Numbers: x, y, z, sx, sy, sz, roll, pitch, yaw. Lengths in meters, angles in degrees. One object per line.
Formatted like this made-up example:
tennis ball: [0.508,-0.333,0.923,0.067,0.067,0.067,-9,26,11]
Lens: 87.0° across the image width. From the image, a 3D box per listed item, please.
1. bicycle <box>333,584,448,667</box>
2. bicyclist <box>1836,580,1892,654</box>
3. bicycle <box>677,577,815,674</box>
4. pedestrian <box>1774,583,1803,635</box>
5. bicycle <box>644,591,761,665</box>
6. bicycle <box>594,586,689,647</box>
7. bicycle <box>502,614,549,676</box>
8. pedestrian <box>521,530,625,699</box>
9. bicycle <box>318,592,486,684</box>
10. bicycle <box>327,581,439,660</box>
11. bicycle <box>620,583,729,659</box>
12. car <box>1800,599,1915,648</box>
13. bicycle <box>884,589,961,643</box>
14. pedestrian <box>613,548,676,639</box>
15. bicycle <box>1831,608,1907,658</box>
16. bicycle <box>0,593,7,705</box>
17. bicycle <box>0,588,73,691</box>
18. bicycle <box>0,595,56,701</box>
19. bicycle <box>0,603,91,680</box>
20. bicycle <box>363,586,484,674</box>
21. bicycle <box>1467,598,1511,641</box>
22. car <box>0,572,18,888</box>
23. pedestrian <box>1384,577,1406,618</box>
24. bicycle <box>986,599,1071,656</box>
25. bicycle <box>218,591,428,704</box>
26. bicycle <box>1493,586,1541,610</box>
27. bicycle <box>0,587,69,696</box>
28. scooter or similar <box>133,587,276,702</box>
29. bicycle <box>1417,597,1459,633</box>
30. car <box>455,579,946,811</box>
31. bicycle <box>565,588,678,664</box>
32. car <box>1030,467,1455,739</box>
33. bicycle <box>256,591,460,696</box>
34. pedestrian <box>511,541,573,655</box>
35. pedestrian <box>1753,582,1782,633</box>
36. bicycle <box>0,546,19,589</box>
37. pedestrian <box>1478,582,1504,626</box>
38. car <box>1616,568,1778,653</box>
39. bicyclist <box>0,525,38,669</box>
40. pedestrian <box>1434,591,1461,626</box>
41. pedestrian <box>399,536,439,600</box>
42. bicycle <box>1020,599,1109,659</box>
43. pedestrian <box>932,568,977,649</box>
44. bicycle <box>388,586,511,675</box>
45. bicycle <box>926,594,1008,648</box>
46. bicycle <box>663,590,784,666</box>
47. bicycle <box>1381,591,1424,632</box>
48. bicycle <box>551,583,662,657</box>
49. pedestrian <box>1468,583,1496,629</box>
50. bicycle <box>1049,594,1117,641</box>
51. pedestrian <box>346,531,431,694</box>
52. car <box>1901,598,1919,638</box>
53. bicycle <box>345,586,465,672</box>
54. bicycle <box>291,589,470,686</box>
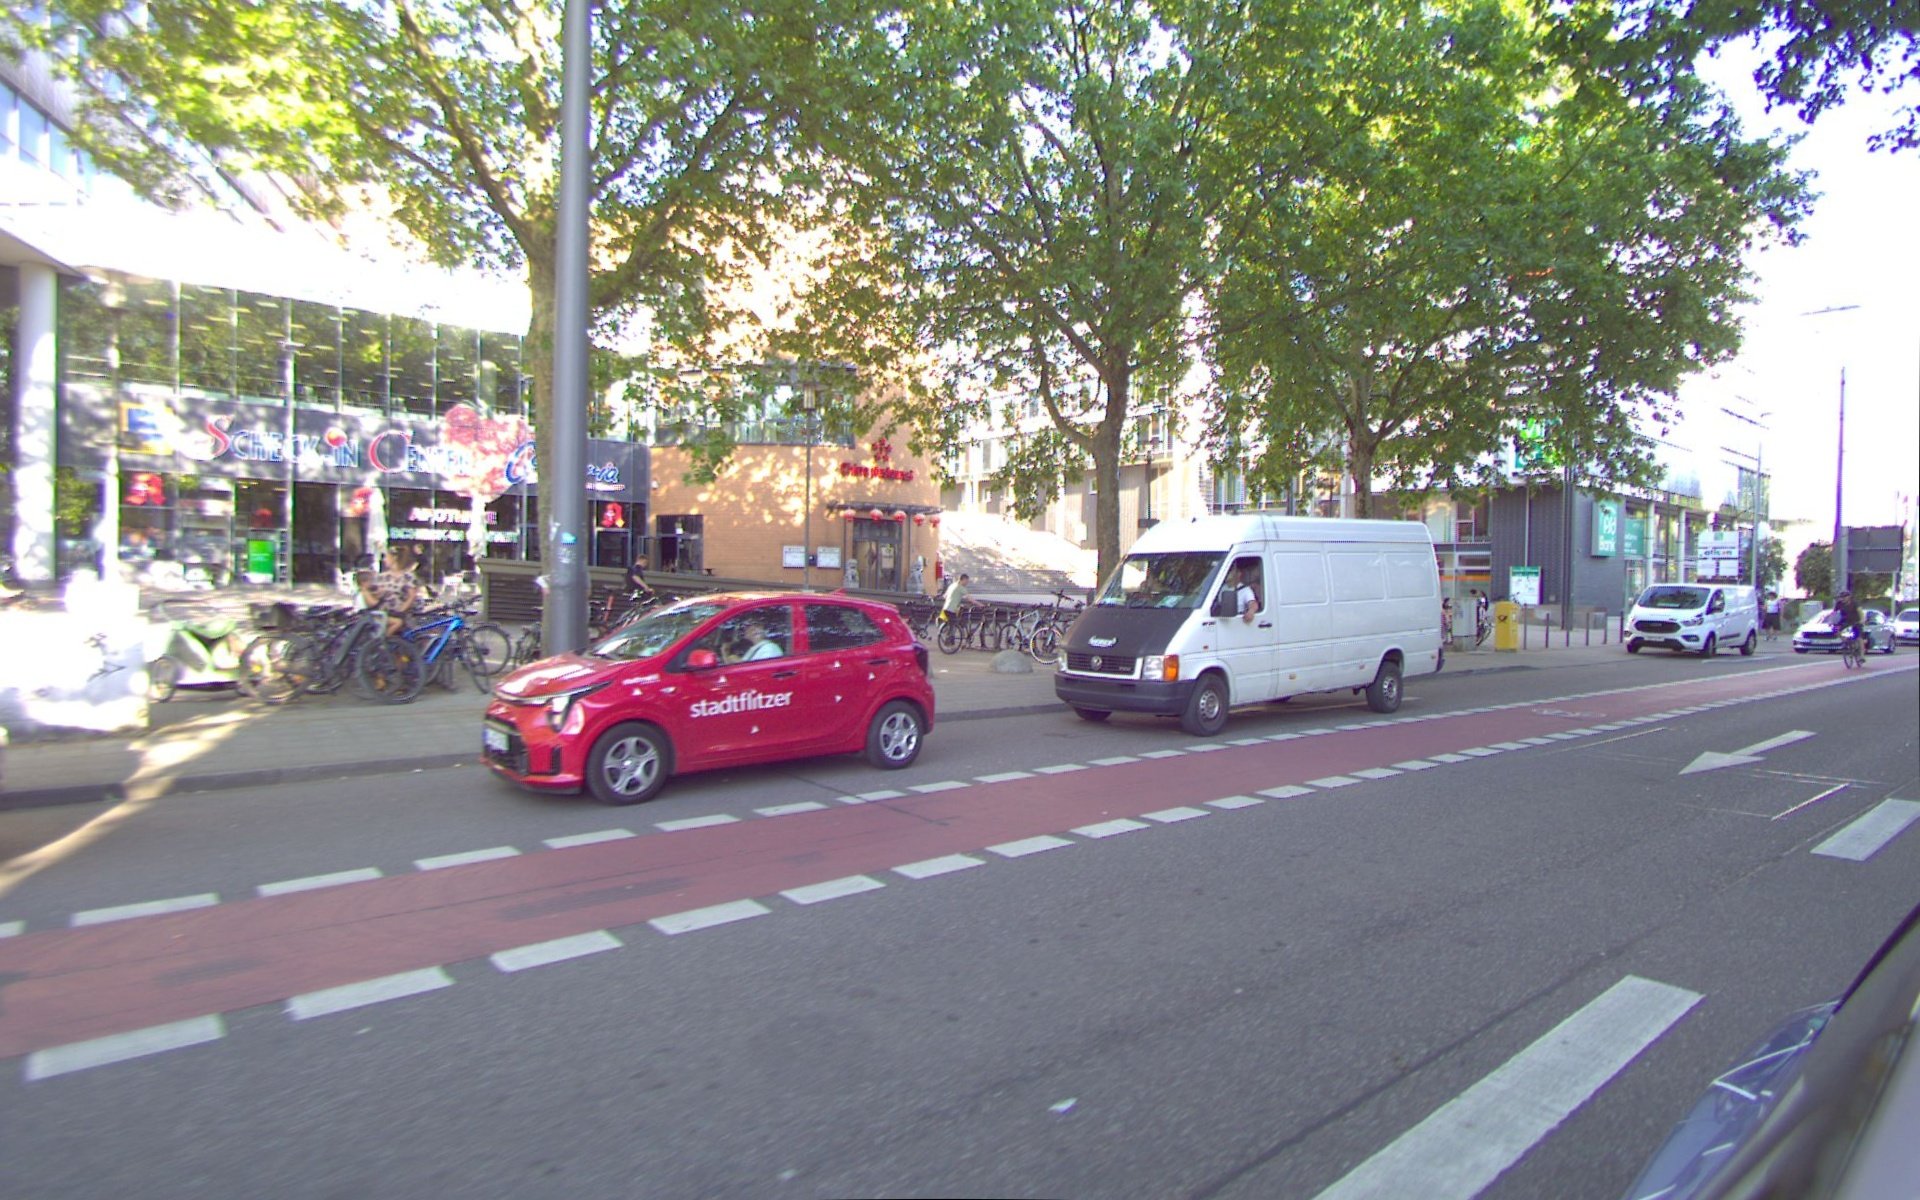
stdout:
bicycle: [-8.528,0.359,15.199,0.420,1.174,1.455,2,1,40]
bicyclist: [21.514,0.397,24.098,0.700,1.709,0.754,1,1,-27]
bicycle: [-2.995,0.330,14.287,1.844,1.280,0.596,0,1,-41]
pedestrian: [30.134,0.323,36.809,0.875,1.831,0.565,0,2,-38]
bicycle: [-3.877,0.397,15.301,1.626,1.044,0.596,0,1,-41]
bicycle: [-6.430,0.318,20.472,1.736,1.174,0.579,0,1,-35]
bicycle: [-5.942,0.598,13.866,0.391,0.770,1.114,1,1,-13]
pedestrian: [-4.378,0.141,11.433,0.872,1.808,0.796,2,1,44]
bicycle: [-7.134,0.478,13.019,1.788,1.130,0.610,1,1,-13]
bicycle: [-8.925,0.294,15.701,0.420,1.174,1.455,2,1,40]
bicycle: [-4.593,0.317,16.342,1.626,1.151,0.503,0,1,-41]
car: [28.864,0.722,32.529,3.943,1.437,1.788,0,2,-33]
bicycle: [-0.824,0.348,22.430,1.622,1.140,0.598,0,1,-33]
pedestrian: [-6.391,-0.141,20.502,1.000,1.779,0.789,0,1,-35]
bicycle: [21.474,0.769,23.887,2.083,1.135,0.552,1,1,-26]
bicycle: [-9.859,0.476,9.278,1.542,1.070,0.630,0,1,-35]
bicycle: [-11.198,0.451,11.667,1.450,1.174,0.421,0,1,-40]
bicycle: [-10.314,0.498,10.450,1.451,1.095,0.421,0,1,-43]
bicycle: [-12.447,0.515,12.806,2.138,0.945,0.669,1,1,-13]
bicycle: [-7.541,0.398,14.279,0.420,1.174,1.455,2,1,40]
bicycle: [14.912,0.545,28.510,1.512,1.173,0.514,0,1,-39]
car: [-6.661,0.612,4.082,4.145,1.482,1.767,0,2,-42]
pedestrian: [18.336,-0.111,42.698,0.709,1.697,0.540,0,1,-38]
bicycle: [1.356,0.517,19.887,1.622,1.060,0.598,0,1,-33]
bicycle: [-6.738,0.492,10.785,1.788,1.130,0.599,1,1,-13]
bicycle: [26.714,-0.105,48.556,0.687,1.076,1.879,0,2,-39]
bicycle: [-10.726,0.451,11.083,1.451,1.174,0.421,0,1,-43]
scooter or similar: [-8.280,0.472,11.096,1.249,1.156,0.905,-2,0,36]
bicycle: [14.016,0.426,29.640,1.598,1.042,0.460,0,1,-39]
car: [-1.967,0.588,8.219,3.558,1.482,1.561,0,1,-41]
bicycle: [-5.467,0.405,16.391,1.662,1.174,0.479,0,1,-37]
car: [3.930,0.022,13.114,6.444,2.759,1.998,0,0,-40]
bicycle: [-6.836,0.486,11.581,1.908,1.130,0.599,1,1,-13]
pedestrian: [-6.792,-0.046,16.442,0.756,1.779,0.820,0,1,-35]
pedestrian: [29.747,0.263,37.291,0.879,1.831,0.591,0,2,-38]
bicycle: [-26.170,-0.890,27.386,0.705,1.142,1.921,0,1,-33]
pedestrian: [18.676,0.136,35.582,0.623,1.541,0.517,1,1,-31]
car: [20.774,0.239,28.450,5.189,2.160,2.130,0,2,-36]
bicyclist: [-12.412,-0.052,12.800,0.834,1.789,0.754,1,1,-13]
pedestrian: [17.559,0.311,36.466,0.664,1.236,0.616,1,1,-34]
pedestrian: [-16.099,-0.941,30.126,0.834,1.867,1.002,1,1,-15]
bicycle: [1.957,0.529,18.900,1.622,1.060,0.598,0,1,-33]
pedestrian: [-0.127,0.167,21.301,0.623,1.651,0.719,1,1,-35]
bicycle: [-7.059,0.394,14.040,0.477,1.174,1.455,2,1,40]
bicycle: [0.155,0.423,20.898,1.623,1.060,0.597,0,1,-35]
bicycle: [-3.443,0.383,14.787,1.626,1.044,0.596,0,1,-41]
bicycle: [13.475,0.344,30.794,1.688,1.193,0.460,0,1,-39]
bicycle: [-5.851,0.312,16.806,1.662,1.174,0.479,0,1,-37]
pedestrian: [18.130,0.211,35.128,0.625,1.562,0.579,1,1,-31]
bicycle: [2.911,0.395,23.912,1.624,1.060,0.597,0,1,-38]
pedestrian: [-6.565,0.131,11.657,0.644,1.808,0.810,1,1,-14]
car: [38.003,0.686,39.180,3.798,1.482,1.672,0,2,-38]
bicycle: [-7.962,0.388,14.570,0.420,1.174,1.455,2,1,40]
bicycle: [-7.024,0.447,12.343,1.788,1.130,0.599,1,1,-13]
